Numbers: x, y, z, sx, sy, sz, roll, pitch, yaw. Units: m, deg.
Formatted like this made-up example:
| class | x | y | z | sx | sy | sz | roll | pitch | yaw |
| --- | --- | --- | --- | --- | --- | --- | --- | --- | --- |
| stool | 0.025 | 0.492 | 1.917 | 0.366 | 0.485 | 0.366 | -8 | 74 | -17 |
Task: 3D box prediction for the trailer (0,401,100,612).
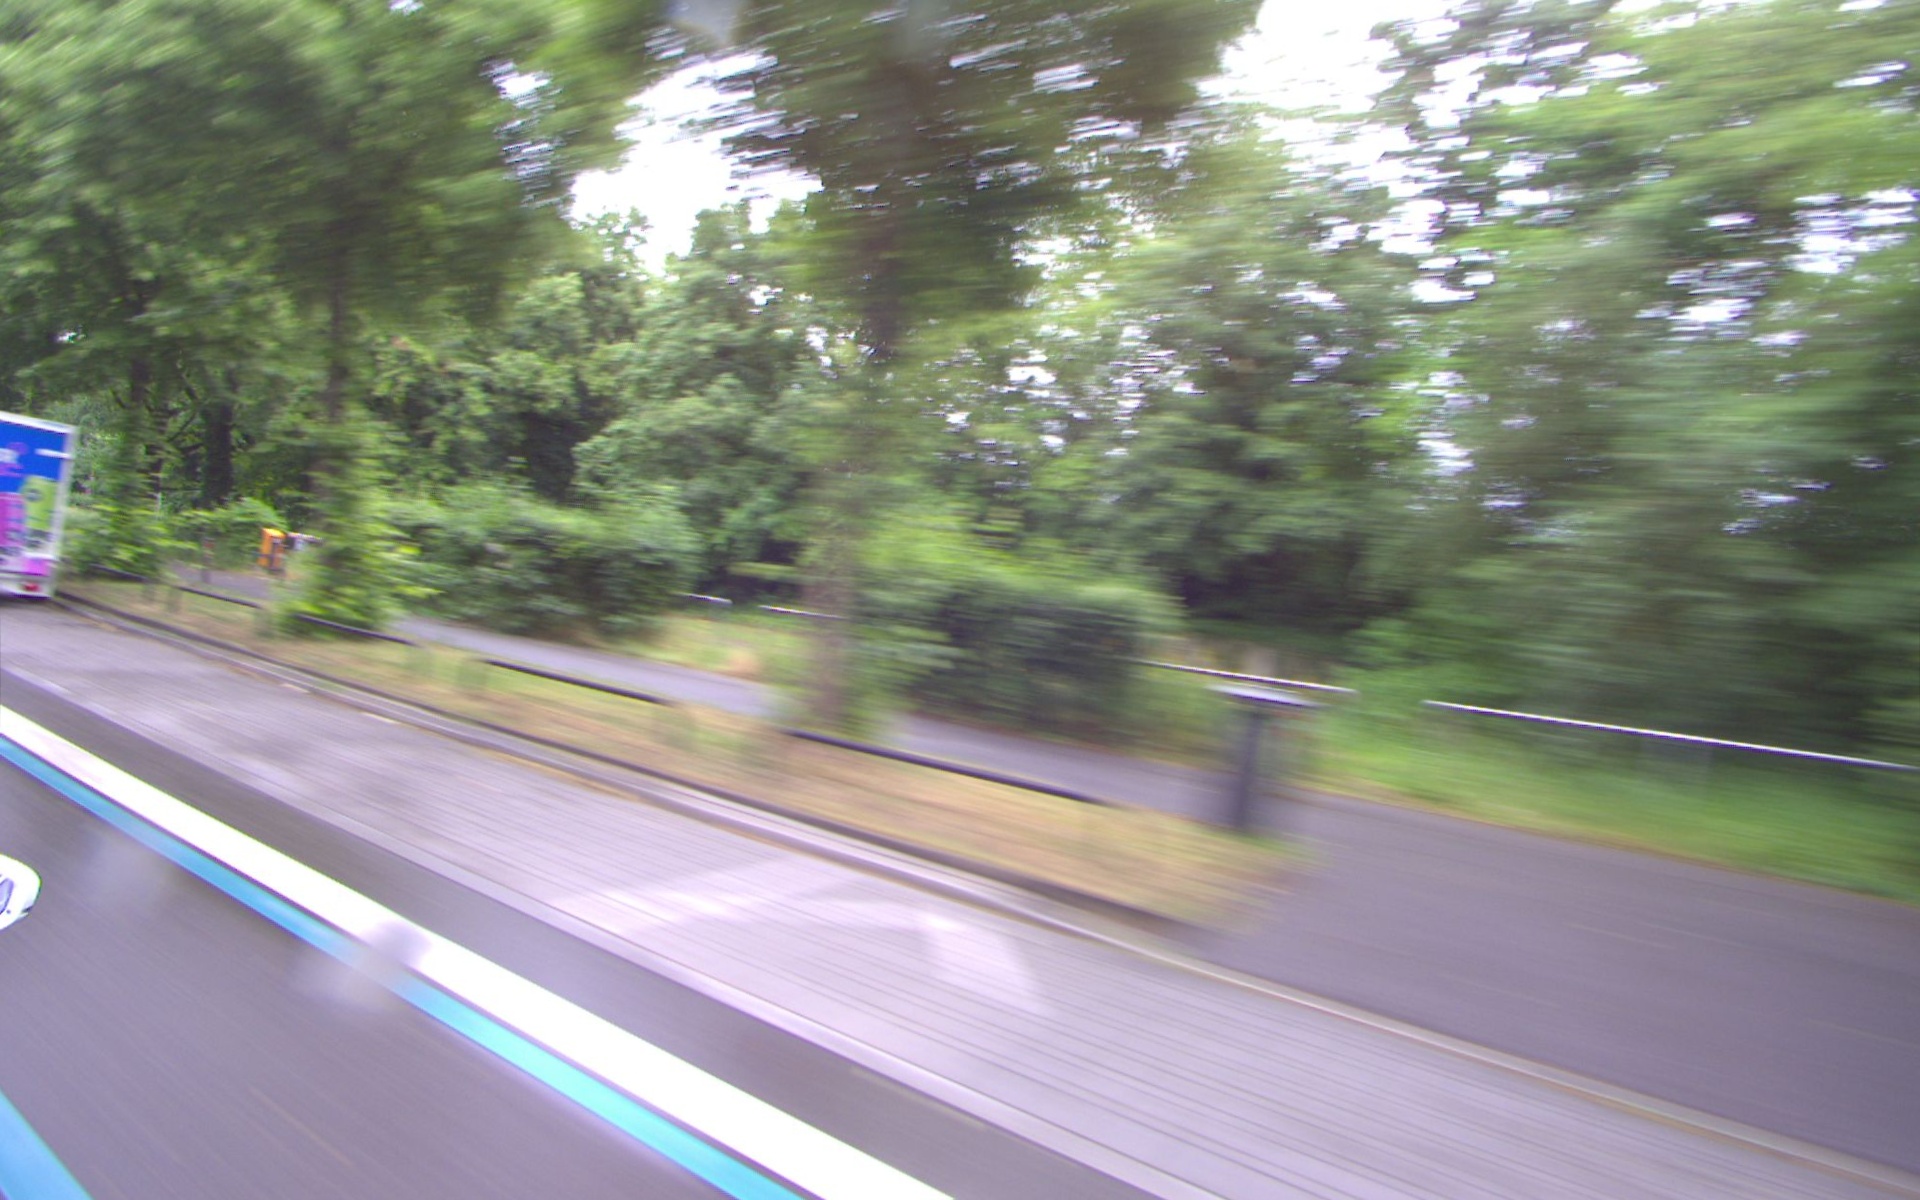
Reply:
| class | x | y | z | sx | sy | sz | roll | pitch | yaw |
| --- | --- | --- | --- | --- | --- | --- | --- | --- | --- |
| trailer | -14.973 | -1.539 | 14.615 | 5.291 | 2.703 | 2.318 | 7 | -1 | 35 |
